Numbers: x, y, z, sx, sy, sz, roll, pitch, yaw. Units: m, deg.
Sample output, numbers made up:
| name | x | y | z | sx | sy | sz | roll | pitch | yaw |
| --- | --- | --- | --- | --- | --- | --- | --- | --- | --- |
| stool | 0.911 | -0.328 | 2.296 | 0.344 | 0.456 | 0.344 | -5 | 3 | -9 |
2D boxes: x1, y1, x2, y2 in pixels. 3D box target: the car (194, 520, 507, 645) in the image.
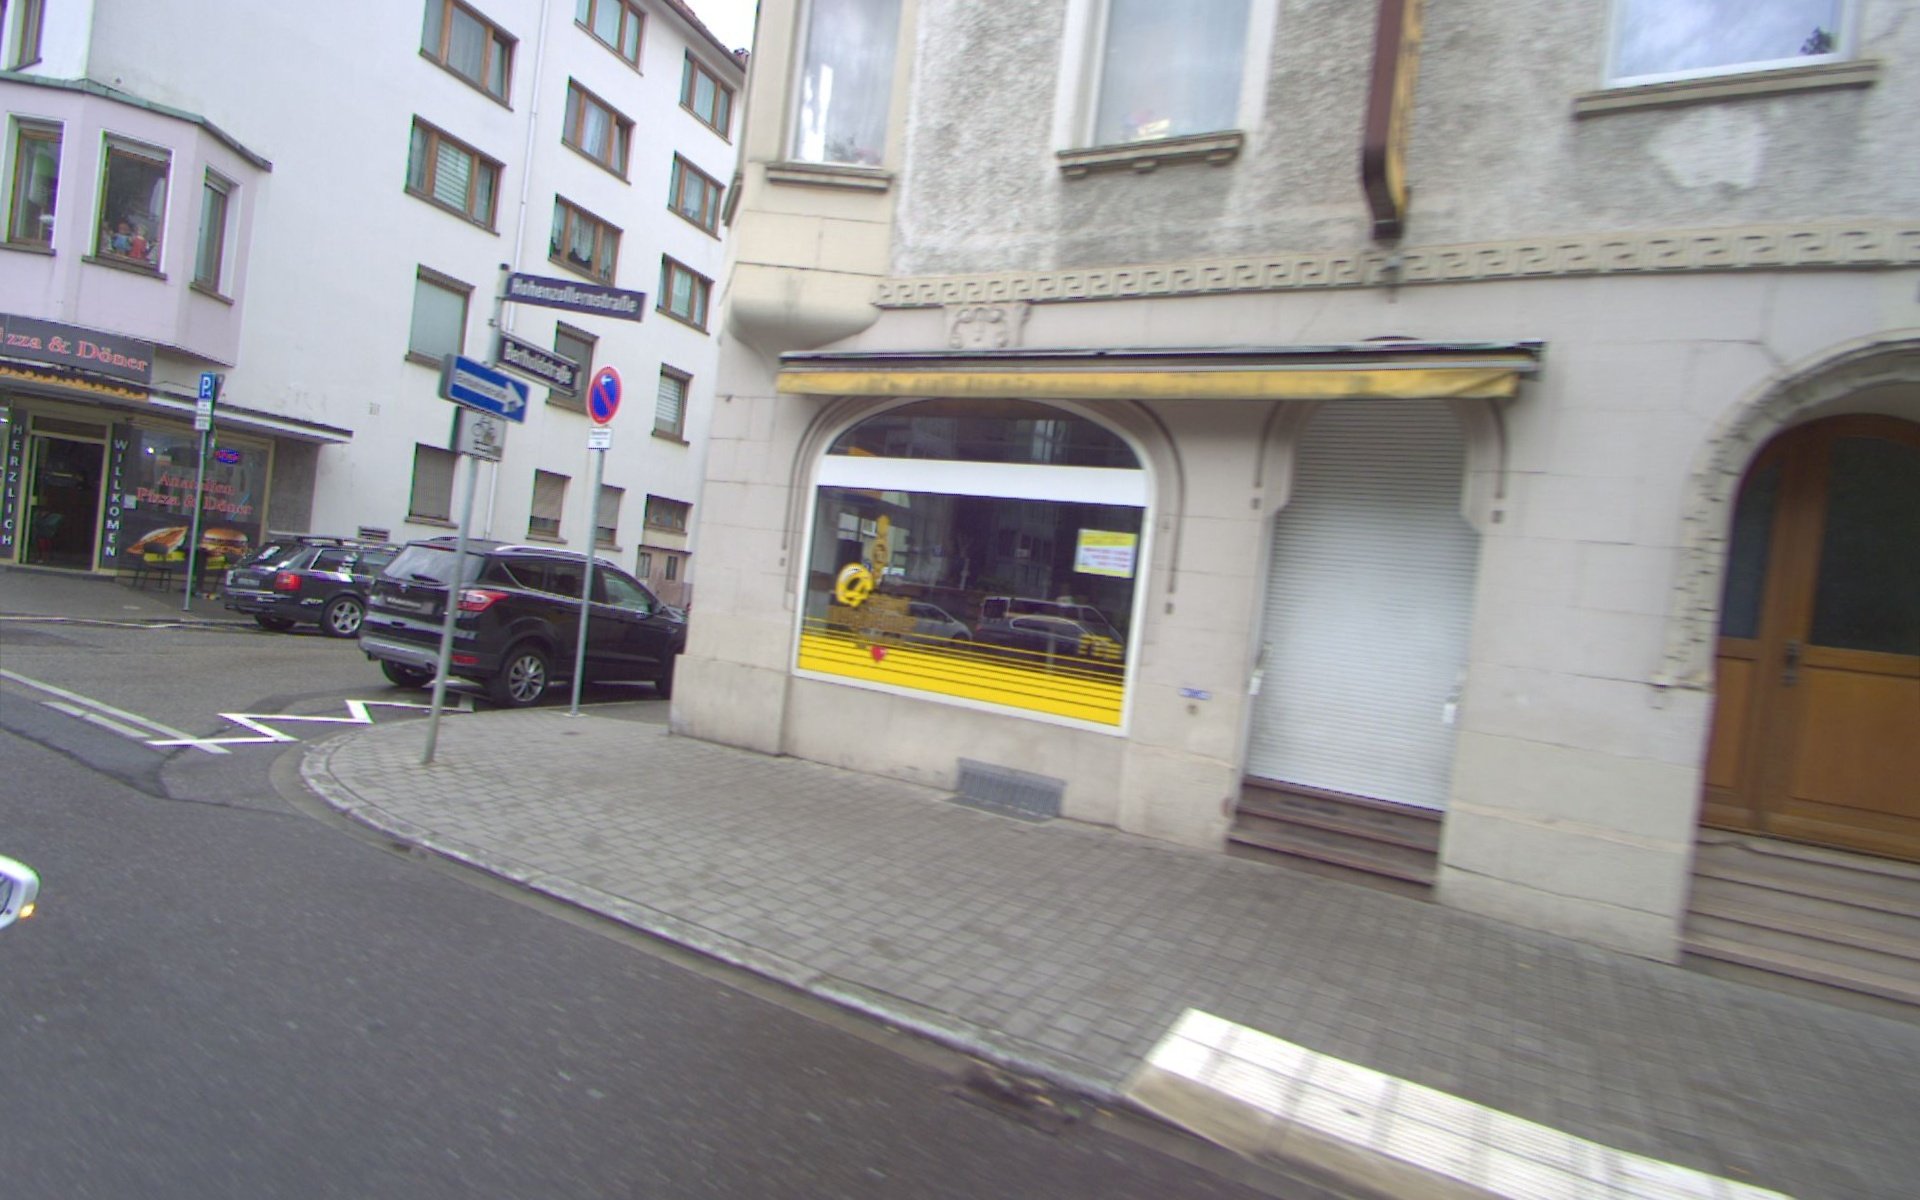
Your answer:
| name | x | y | z | sx | sy | sz | roll | pitch | yaw |
| --- | --- | --- | --- | --- | --- | --- | --- | --- | --- |
| car | -9.912 | -0.198 | 16.768 | 1.773 | 1.626 | 4.120 | 5 | -2 | 23 |

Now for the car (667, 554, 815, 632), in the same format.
| name | x | y | z | sx | sy | sz | roll | pitch | yaw |
| --- | --- | --- | --- | --- | --- | --- | --- | --- | --- |
| car | -5.778 | -0.136 | 27.057 | 1.875 | 1.597 | 3.902 | 6 | -2 | 23 |

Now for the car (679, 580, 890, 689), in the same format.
| name | x | y | z | sx | sy | sz | roll | pitch | yaw |
| --- | --- | --- | --- | --- | --- | --- | --- | --- | --- |
| car | -2.882 | 0.611 | 17.303 | 1.748 | 1.509 | 3.695 | 6 | 0 | 23 |

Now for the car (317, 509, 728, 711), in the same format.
| name | x | y | z | sx | sy | sz | roll | pitch | yaw |
| --- | --- | --- | --- | --- | --- | --- | --- | --- | --- |
| car | -4.822 | 0.206 | 11.811 | 1.839 | 1.793 | 4.151 | 7 | -1 | 23 |
